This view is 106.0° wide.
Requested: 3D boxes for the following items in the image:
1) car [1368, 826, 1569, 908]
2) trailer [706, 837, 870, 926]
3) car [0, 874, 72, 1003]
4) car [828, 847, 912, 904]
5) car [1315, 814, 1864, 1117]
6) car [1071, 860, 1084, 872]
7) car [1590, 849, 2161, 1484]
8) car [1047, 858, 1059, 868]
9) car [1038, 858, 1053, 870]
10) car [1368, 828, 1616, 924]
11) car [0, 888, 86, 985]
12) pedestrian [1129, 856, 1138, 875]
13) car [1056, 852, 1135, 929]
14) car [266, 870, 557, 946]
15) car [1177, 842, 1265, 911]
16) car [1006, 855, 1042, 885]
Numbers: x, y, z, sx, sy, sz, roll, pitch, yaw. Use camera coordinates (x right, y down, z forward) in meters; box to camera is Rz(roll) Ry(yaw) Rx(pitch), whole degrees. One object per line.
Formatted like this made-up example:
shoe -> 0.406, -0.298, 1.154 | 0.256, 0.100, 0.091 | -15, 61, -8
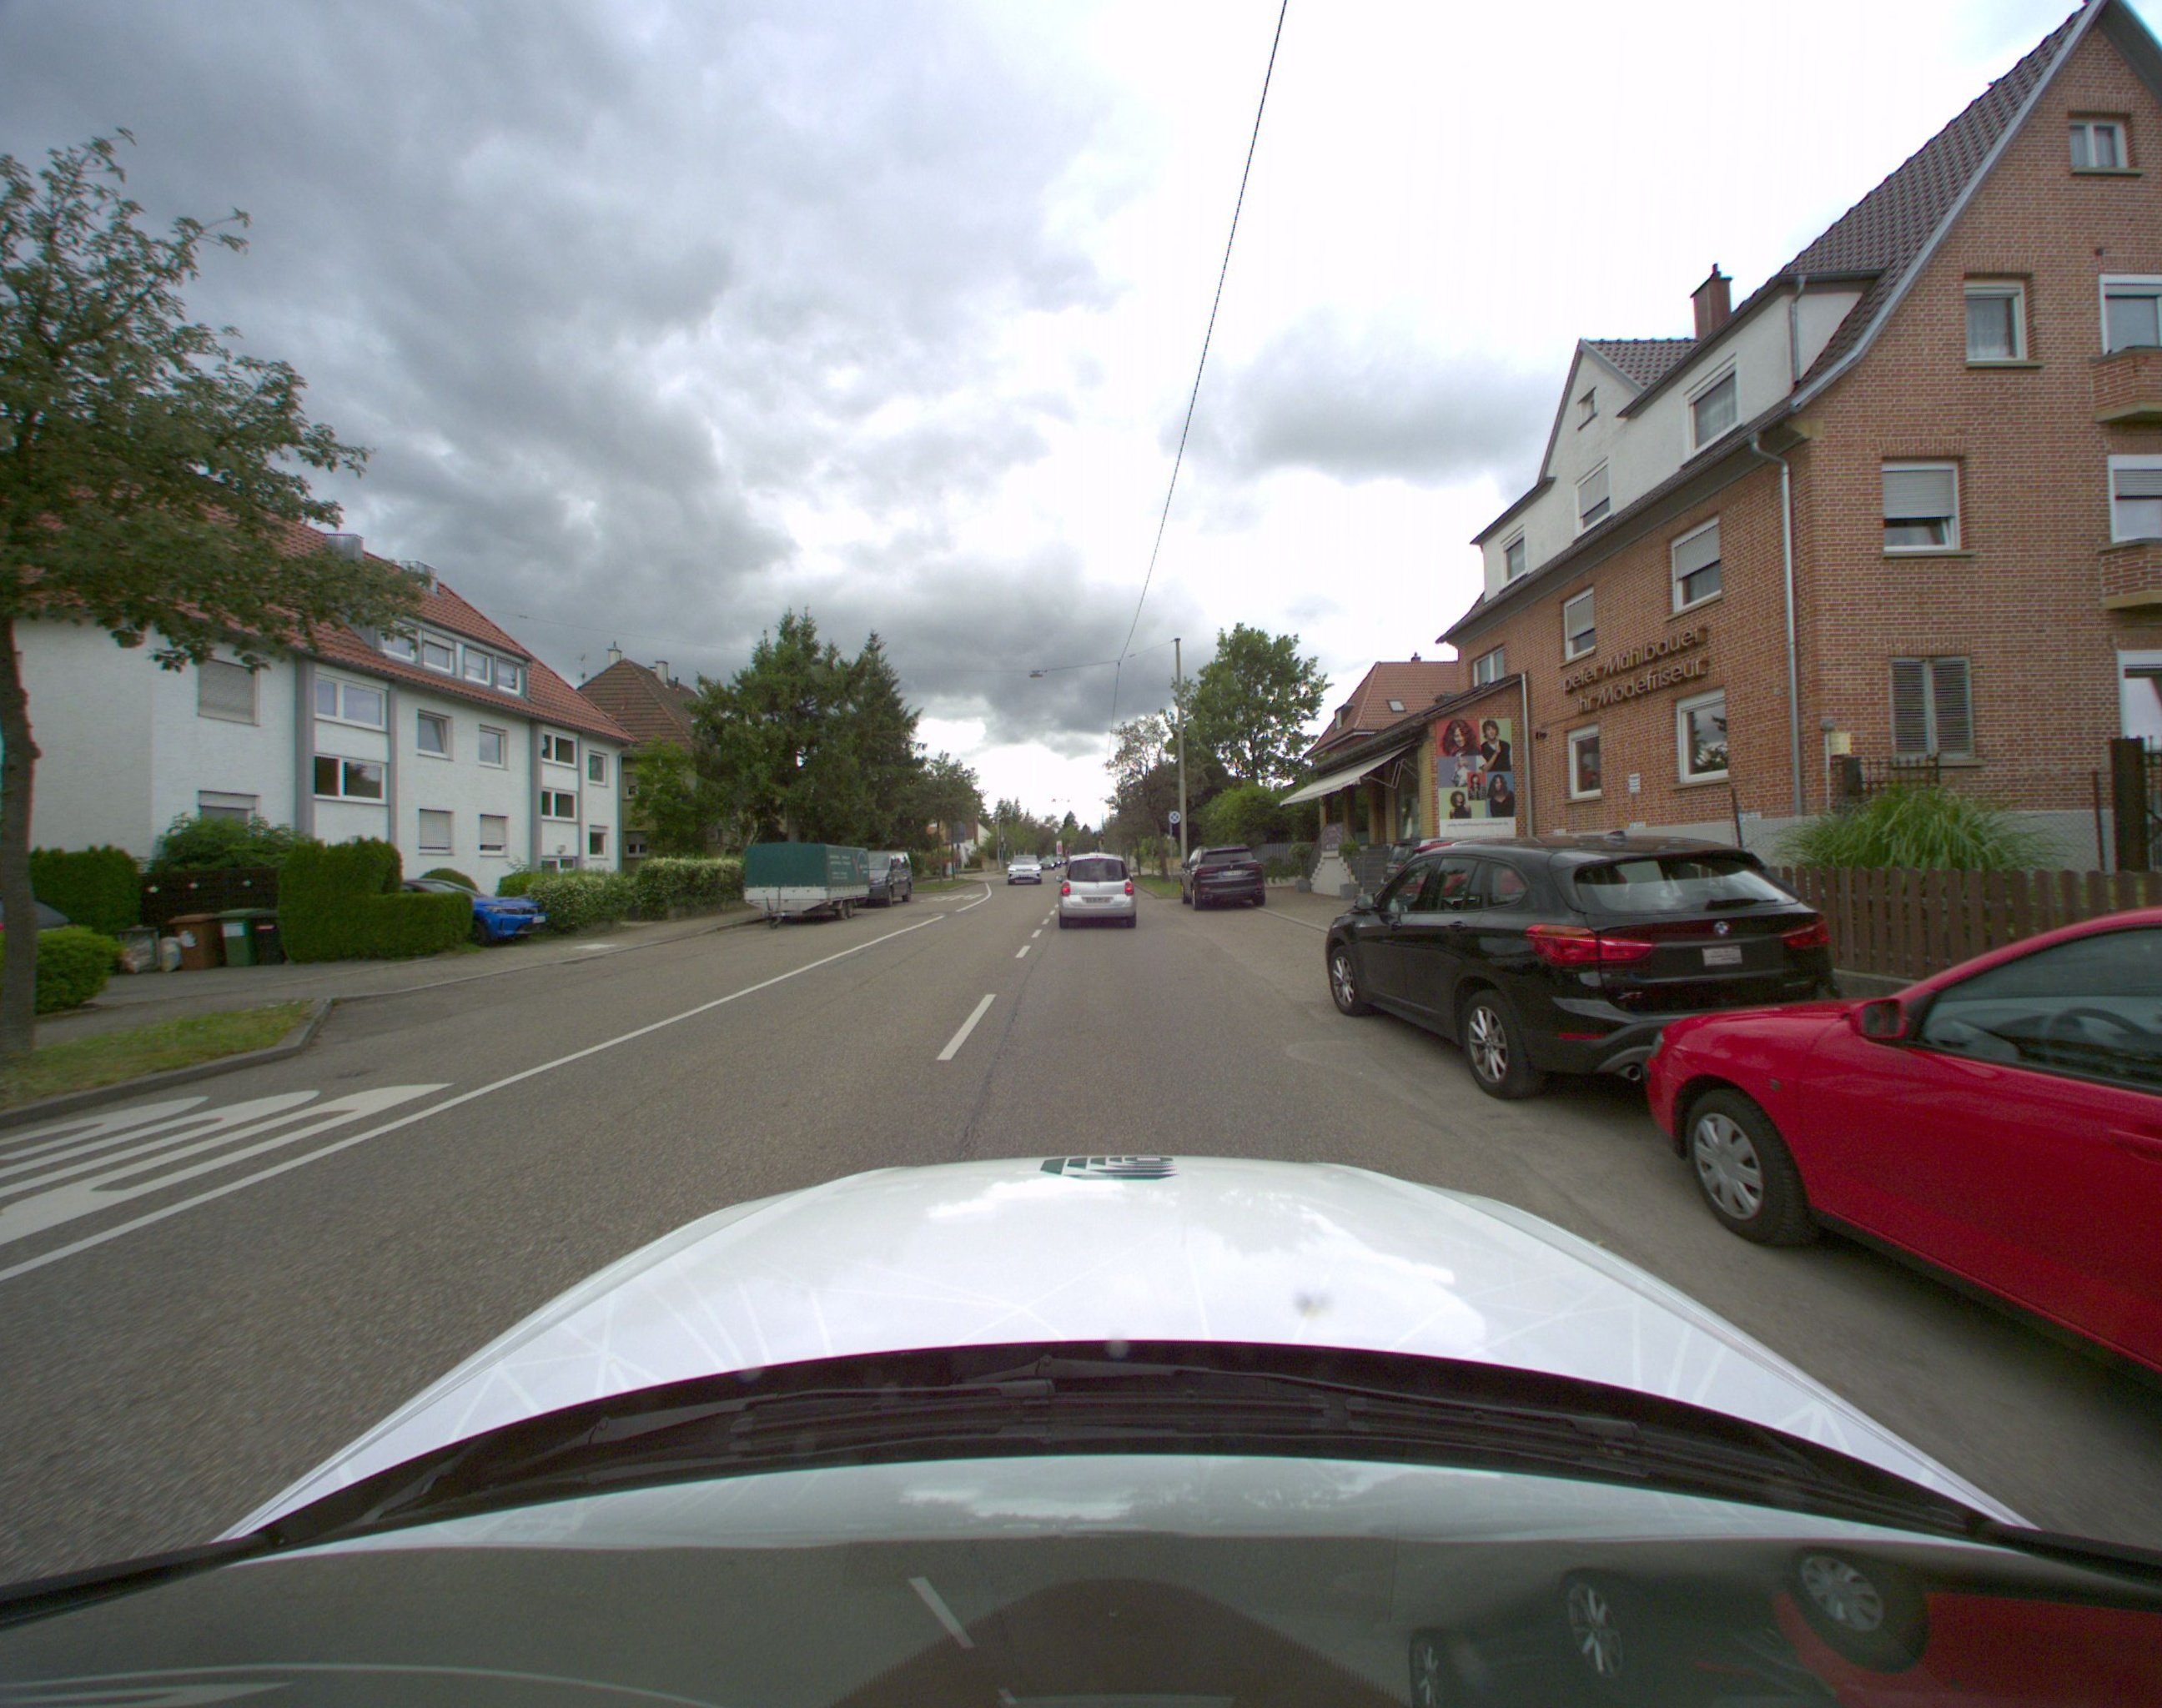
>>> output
car -> 9.029, 0.284, 19.105 | 3.981, 1.560, 1.500 | -4, 0, -5
trailer -> -7.634, 0.716, 22.053 | 2.305, 2.087, 5.870 | 0, -1, 0
car -> -12.979, 0.928, 7.649 | 1.869, 1.417, 4.004 | -1, -1, 4
car -> -7.544, 0.775, 29.581 | 1.882, 1.922, 4.560 | 0, -1, 0
car -> 3.294, 0.593, 6.369 | 1.658, 1.564, 4.096 | -1, 0, -1
car -> -0.459, 1.768, 122.238 | 1.823, 1.675, 3.575 | -1, -1, 1
car -> 3.234, 0.690, 2.109 | 1.656, 1.393, 3.670 | -1, 0, 3
car -> -3.919, 1.331, 115.236 | 1.717, 1.411, 3.996 | 0, -1, -2
car -> -4.215, 1.202, 97.330 | 1.717, 1.411, 3.996 | 0, -1, -2
car -> 8.024, 0.407, 16.091 | 3.984, 1.496, 1.805 | -4, 0, -8
car -> -17.338, 1.259, 11.576 | 3.976, 1.341, 1.844 | -2, 0, -2
pedestrian -> 4.583, 1.021, 71.115 | 0.703, 1.647, 0.773 | -2, -1, 0
car -> 0.365, 0.788, 18.621 | 1.624, 1.557, 4.001 | 0, -1, 2
car -> -12.576, 0.990, 15.544 | 3.986, 1.338, 1.572 | 0, -2, -9
car -> 3.915, 0.642, 23.396 | 1.806, 1.743, 3.999 | -2, -1, 0
car -> -3.160, 0.901, 45.985 | 1.901, 1.618, 3.995 | 0, -1, -3
